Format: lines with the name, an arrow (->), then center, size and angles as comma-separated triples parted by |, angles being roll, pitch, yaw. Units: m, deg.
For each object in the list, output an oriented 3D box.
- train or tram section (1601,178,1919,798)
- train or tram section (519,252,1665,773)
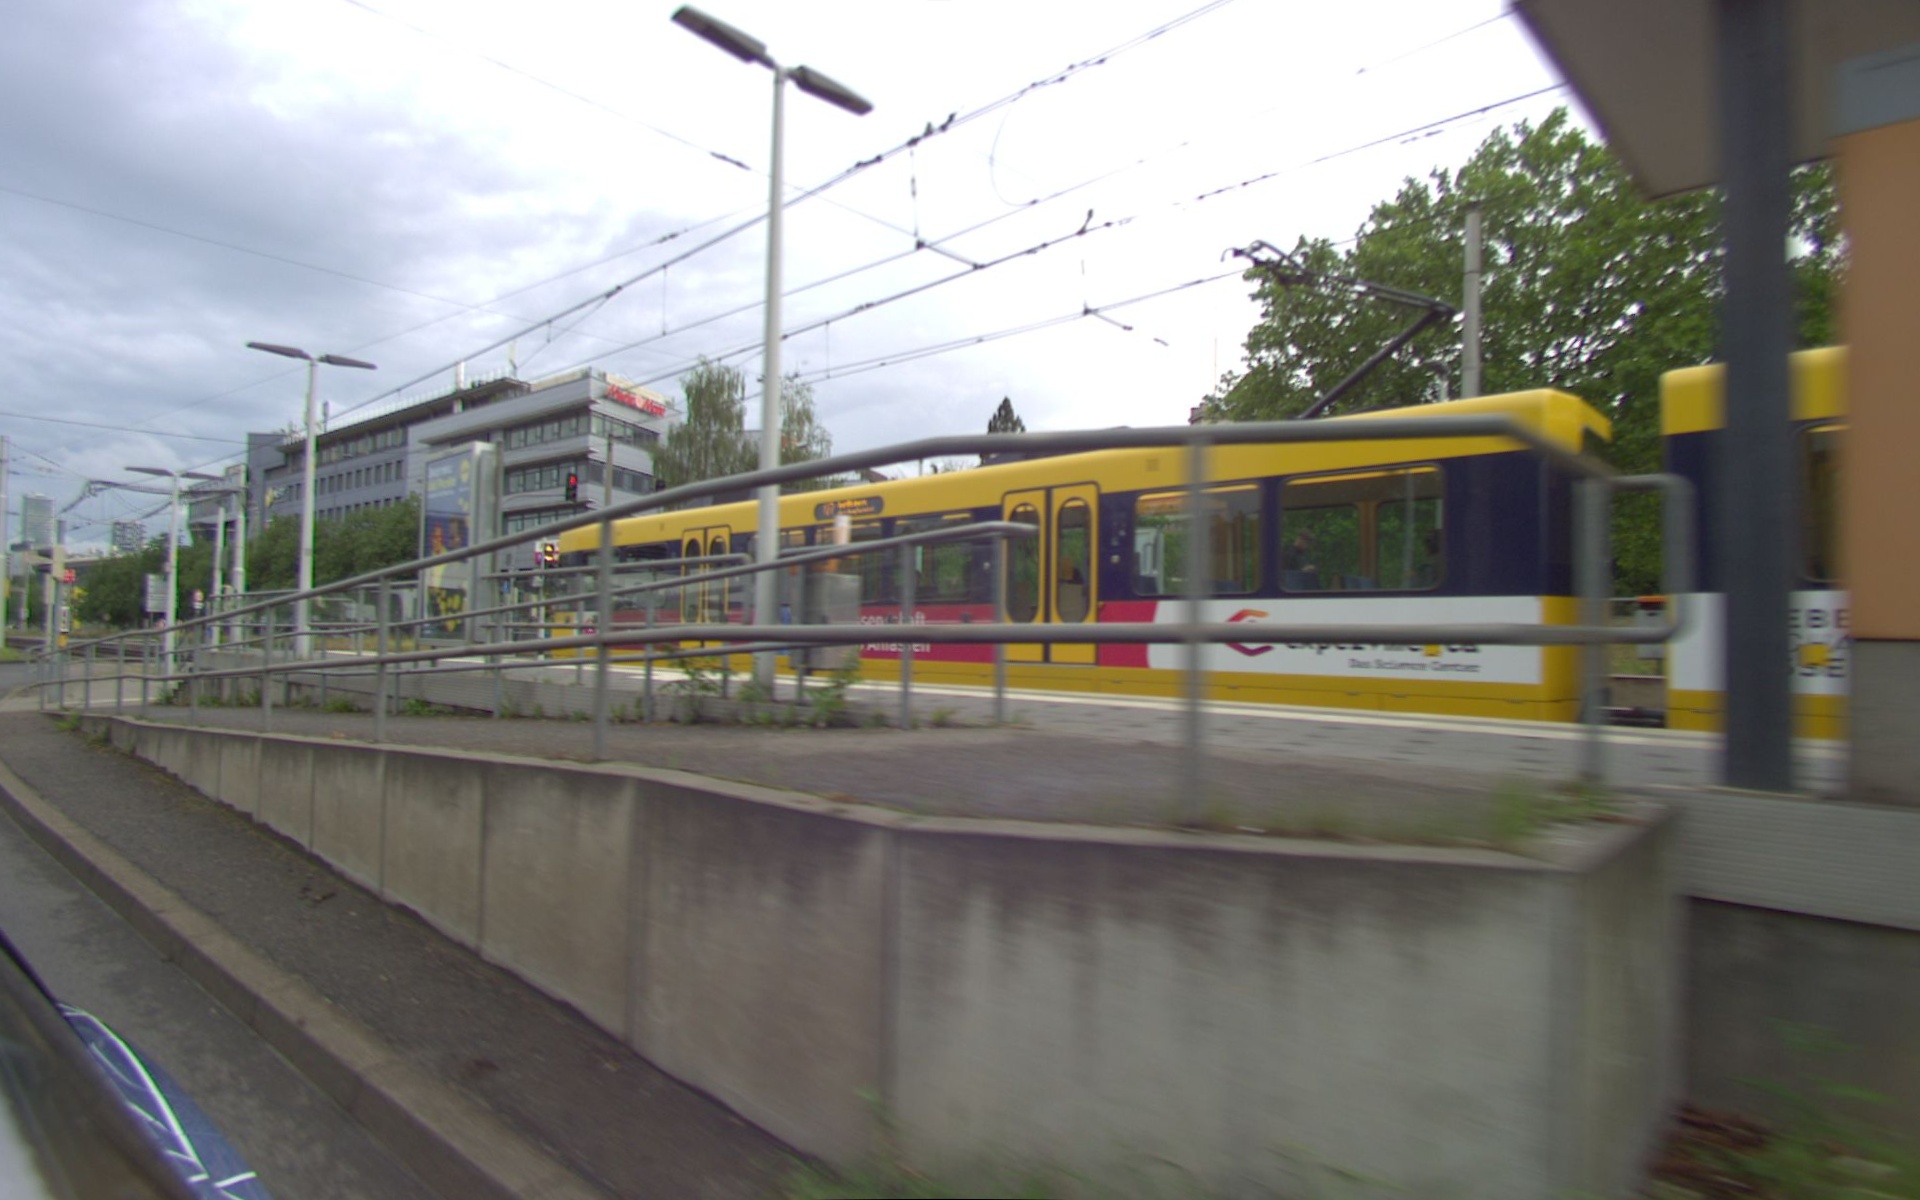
train or tram section -> 12.728, -0.835, 1.871 | 2.835, 3.984, 19.342 | 0, -1, -45
train or tram section -> -1.156, -0.551, 15.446 | 19.332, 4.003, 2.836 | -1, -1, 43
